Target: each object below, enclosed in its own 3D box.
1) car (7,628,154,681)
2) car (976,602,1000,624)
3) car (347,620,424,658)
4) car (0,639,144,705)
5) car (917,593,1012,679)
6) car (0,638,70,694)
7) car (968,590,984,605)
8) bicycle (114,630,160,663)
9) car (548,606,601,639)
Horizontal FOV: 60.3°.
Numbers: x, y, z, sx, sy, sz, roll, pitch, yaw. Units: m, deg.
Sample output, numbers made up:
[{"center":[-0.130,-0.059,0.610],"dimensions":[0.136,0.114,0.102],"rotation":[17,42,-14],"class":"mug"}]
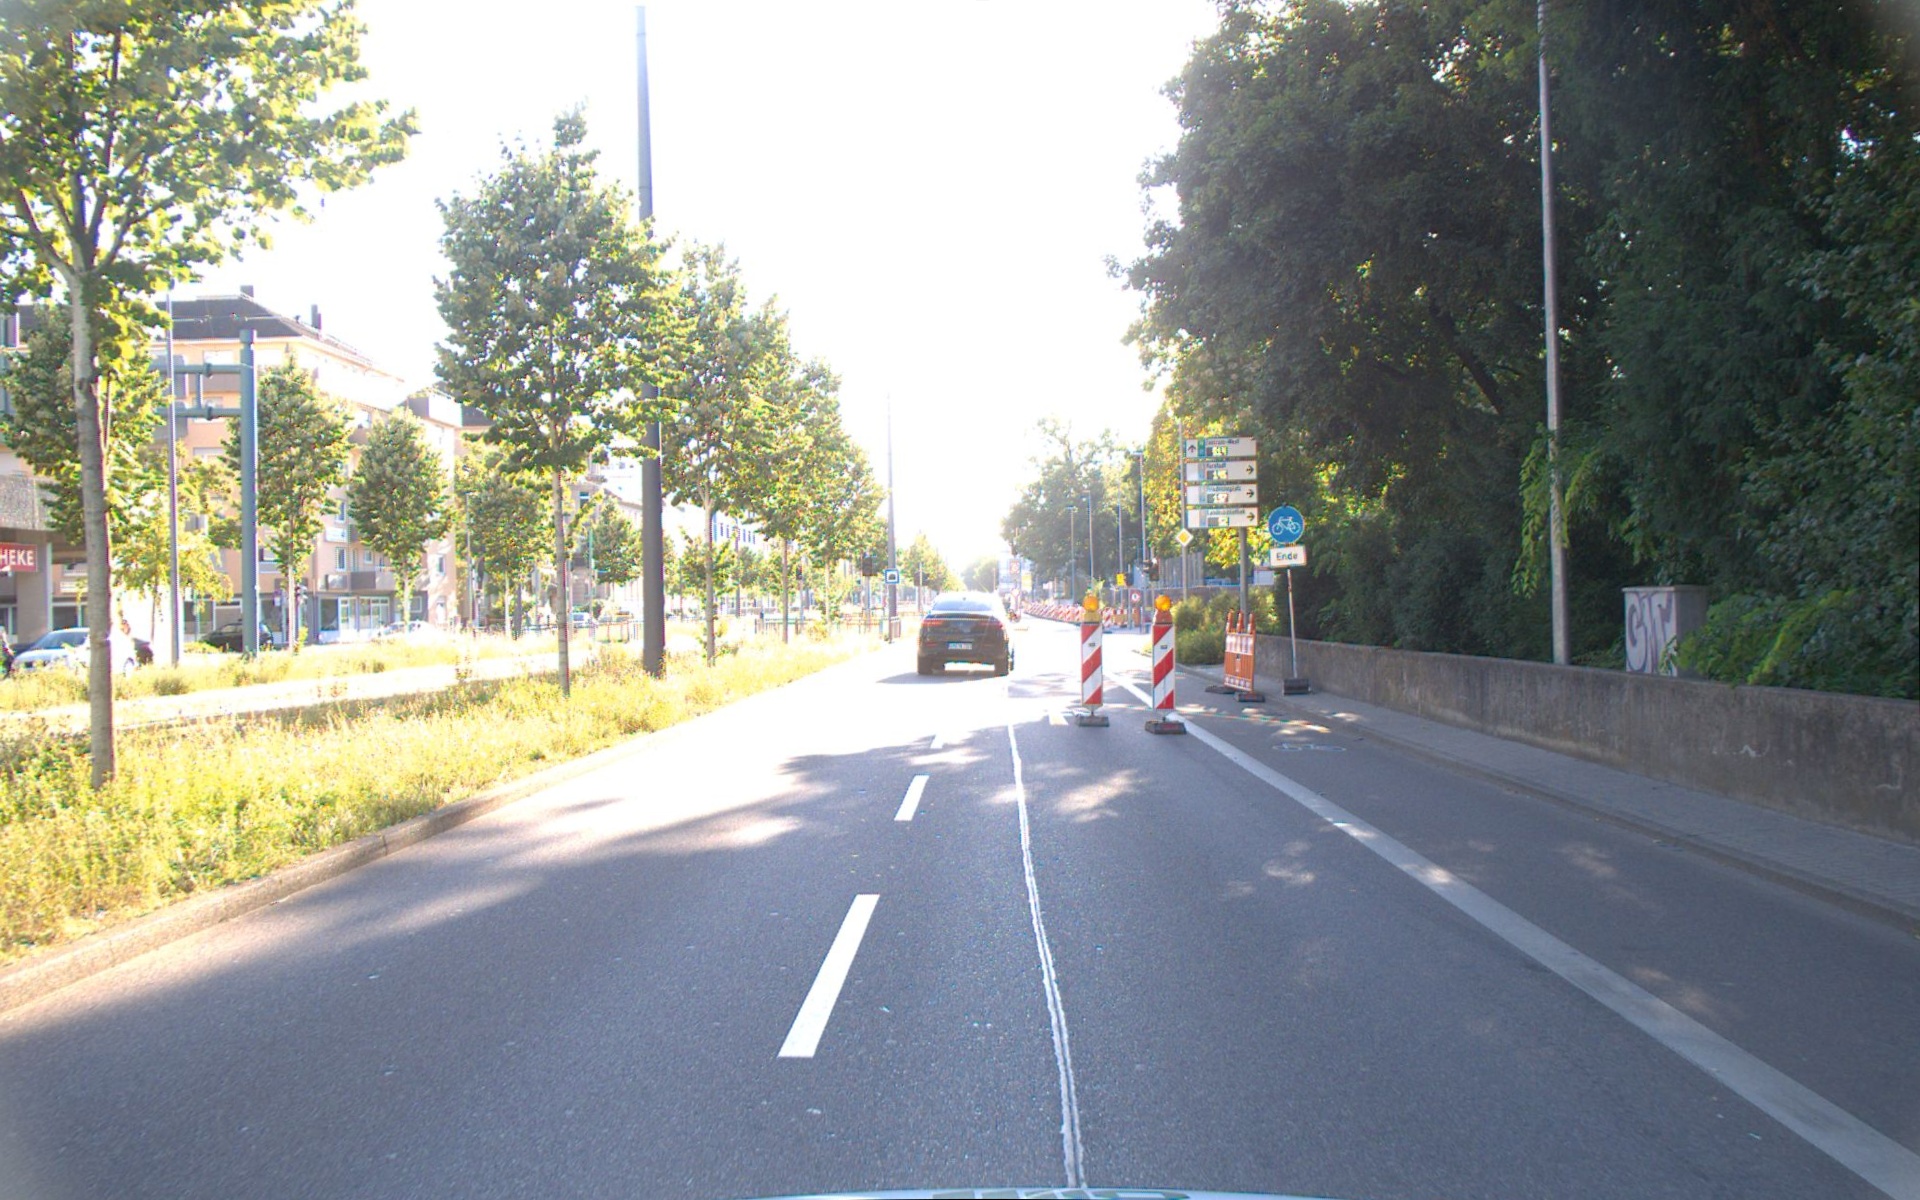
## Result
[{"center":[-28.960,1.774,54.506],"dimensions":[3.964,1.590,1.970],"rotation":[0,0,-41],"class":"car"},{"center":[2.143,1.000,127.602],"dimensions":[1.731,1.632,3.773],"rotation":[-2,0,0],"class":"car"},{"center":[-23.453,1.572,67.683],"dimensions":[1.894,1.421,3.686],"rotation":[-2,0,-1],"class":"car"},{"center":[-23.444,1.860,43.492],"dimensions":[1.846,1.541,4.002],"rotation":[-1,0,3],"class":"car"},{"center":[0.124,0.737,36.455],"dimensions":[1.952,1.765,4.000],"rotation":[-1,0,1],"class":"car"},{"center":[-29.272,2.006,49.812],"dimensions":[1.965,1.601,3.975],"rotation":[0,0,43],"class":"car"},{"center":[1.843,-0.284,188.175],"dimensions":[1.847,1.608,4.000],"rotation":[-1,1,0],"class":"car"},{"center":[-25.994,1.452,52.263],"dimensions":[0.594,0.980,1.717],"rotation":[0,0,-1],"class":"bicycle"},{"center":[-21.031,1.219,90.353],"dimensions":[1.846,1.668,4.000],"rotation":[-2,0,0],"class":"car"}]
